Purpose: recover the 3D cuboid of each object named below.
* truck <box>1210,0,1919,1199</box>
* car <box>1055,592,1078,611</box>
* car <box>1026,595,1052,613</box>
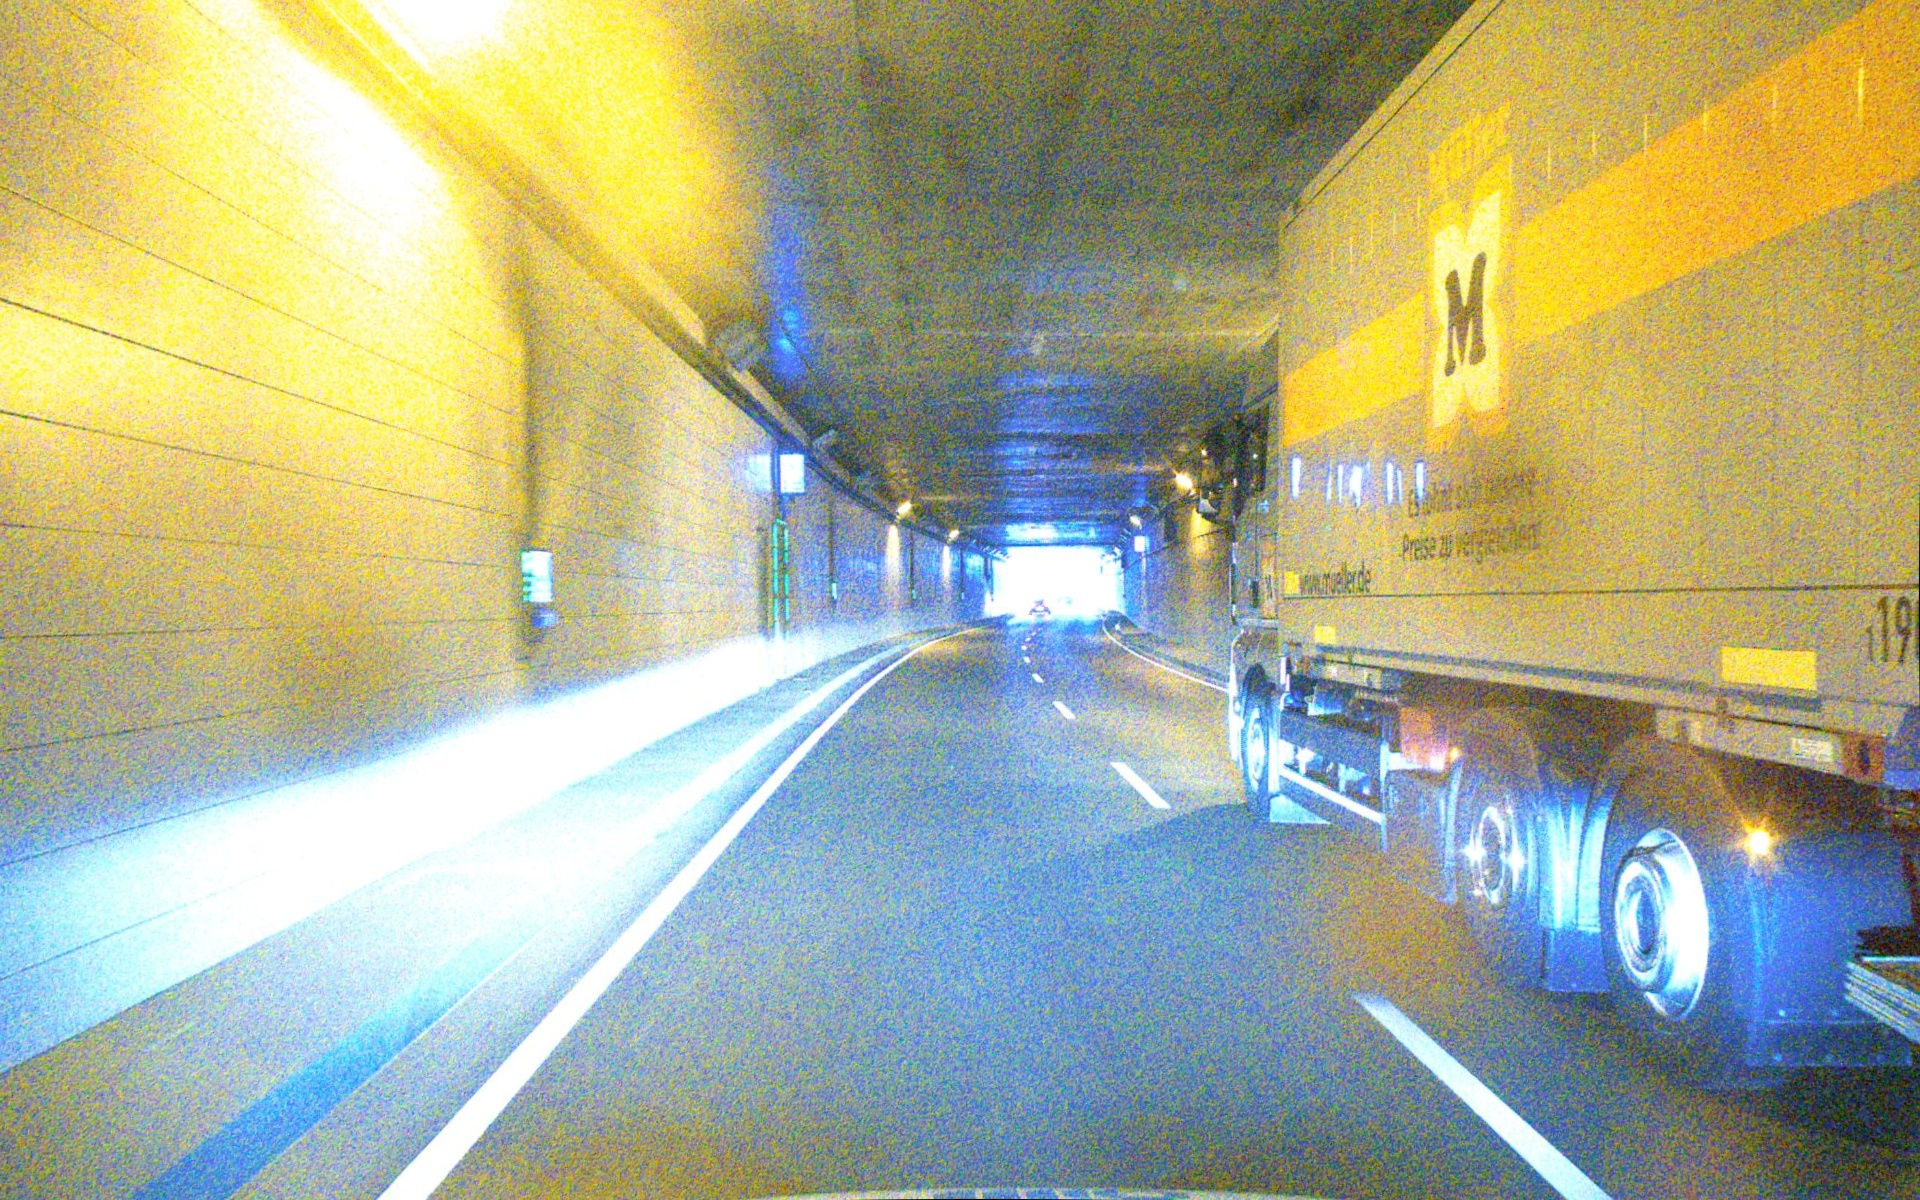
[{"bbox_3d":[3.460,-0.567,7.925,2.830,3.982,9.907,-1,0,-1],"label":"truck"},{"bbox_3d":[9.756,0.146,152.008,1.831,1.763,4.000,-1,0,1],"label":"car"},{"bbox_3d":[6.369,0.349,133.268,1.802,1.413,4.003,-1,0,8],"label":"car"}]
